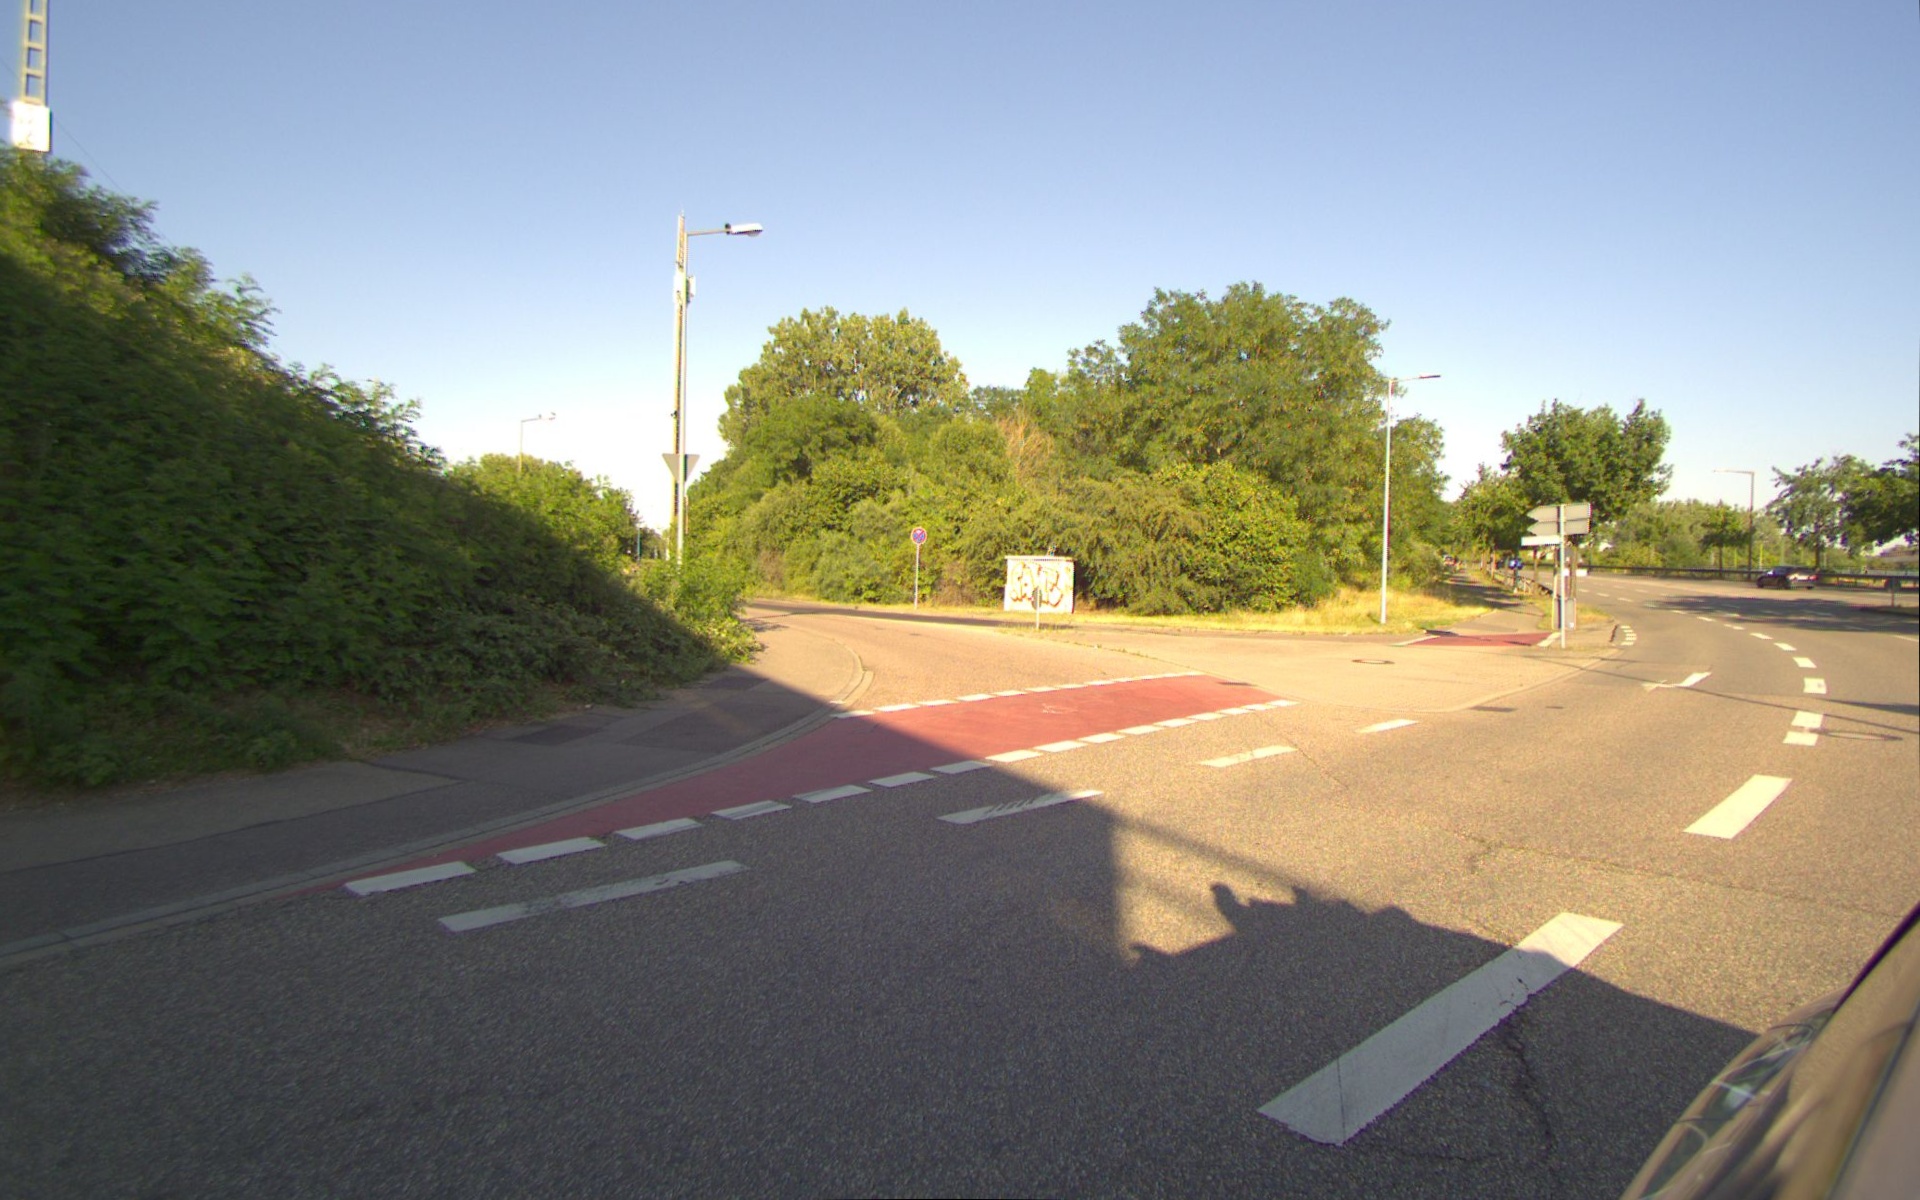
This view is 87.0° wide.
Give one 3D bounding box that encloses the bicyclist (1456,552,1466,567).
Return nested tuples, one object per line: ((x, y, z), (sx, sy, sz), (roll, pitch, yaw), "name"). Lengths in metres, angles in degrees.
((47.489, -3.848, 95.942), (0.836, 1.439, 1.103), (0, 0, 28), "bicyclist")

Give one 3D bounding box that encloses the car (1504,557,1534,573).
((66.705, -4.214, 120.806), (1.969, 1.794, 3.987), (0, 0, 11), "car")

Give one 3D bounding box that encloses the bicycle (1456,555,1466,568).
((47.516, -3.643, 95.925), (0.775, 1.070, 2.473), (0, 0, 27), "bicycle")

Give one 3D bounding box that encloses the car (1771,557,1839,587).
((53.941, -1.749, 64.703), (1.974, 1.794, 3.976), (0, 0, 19), "car")
